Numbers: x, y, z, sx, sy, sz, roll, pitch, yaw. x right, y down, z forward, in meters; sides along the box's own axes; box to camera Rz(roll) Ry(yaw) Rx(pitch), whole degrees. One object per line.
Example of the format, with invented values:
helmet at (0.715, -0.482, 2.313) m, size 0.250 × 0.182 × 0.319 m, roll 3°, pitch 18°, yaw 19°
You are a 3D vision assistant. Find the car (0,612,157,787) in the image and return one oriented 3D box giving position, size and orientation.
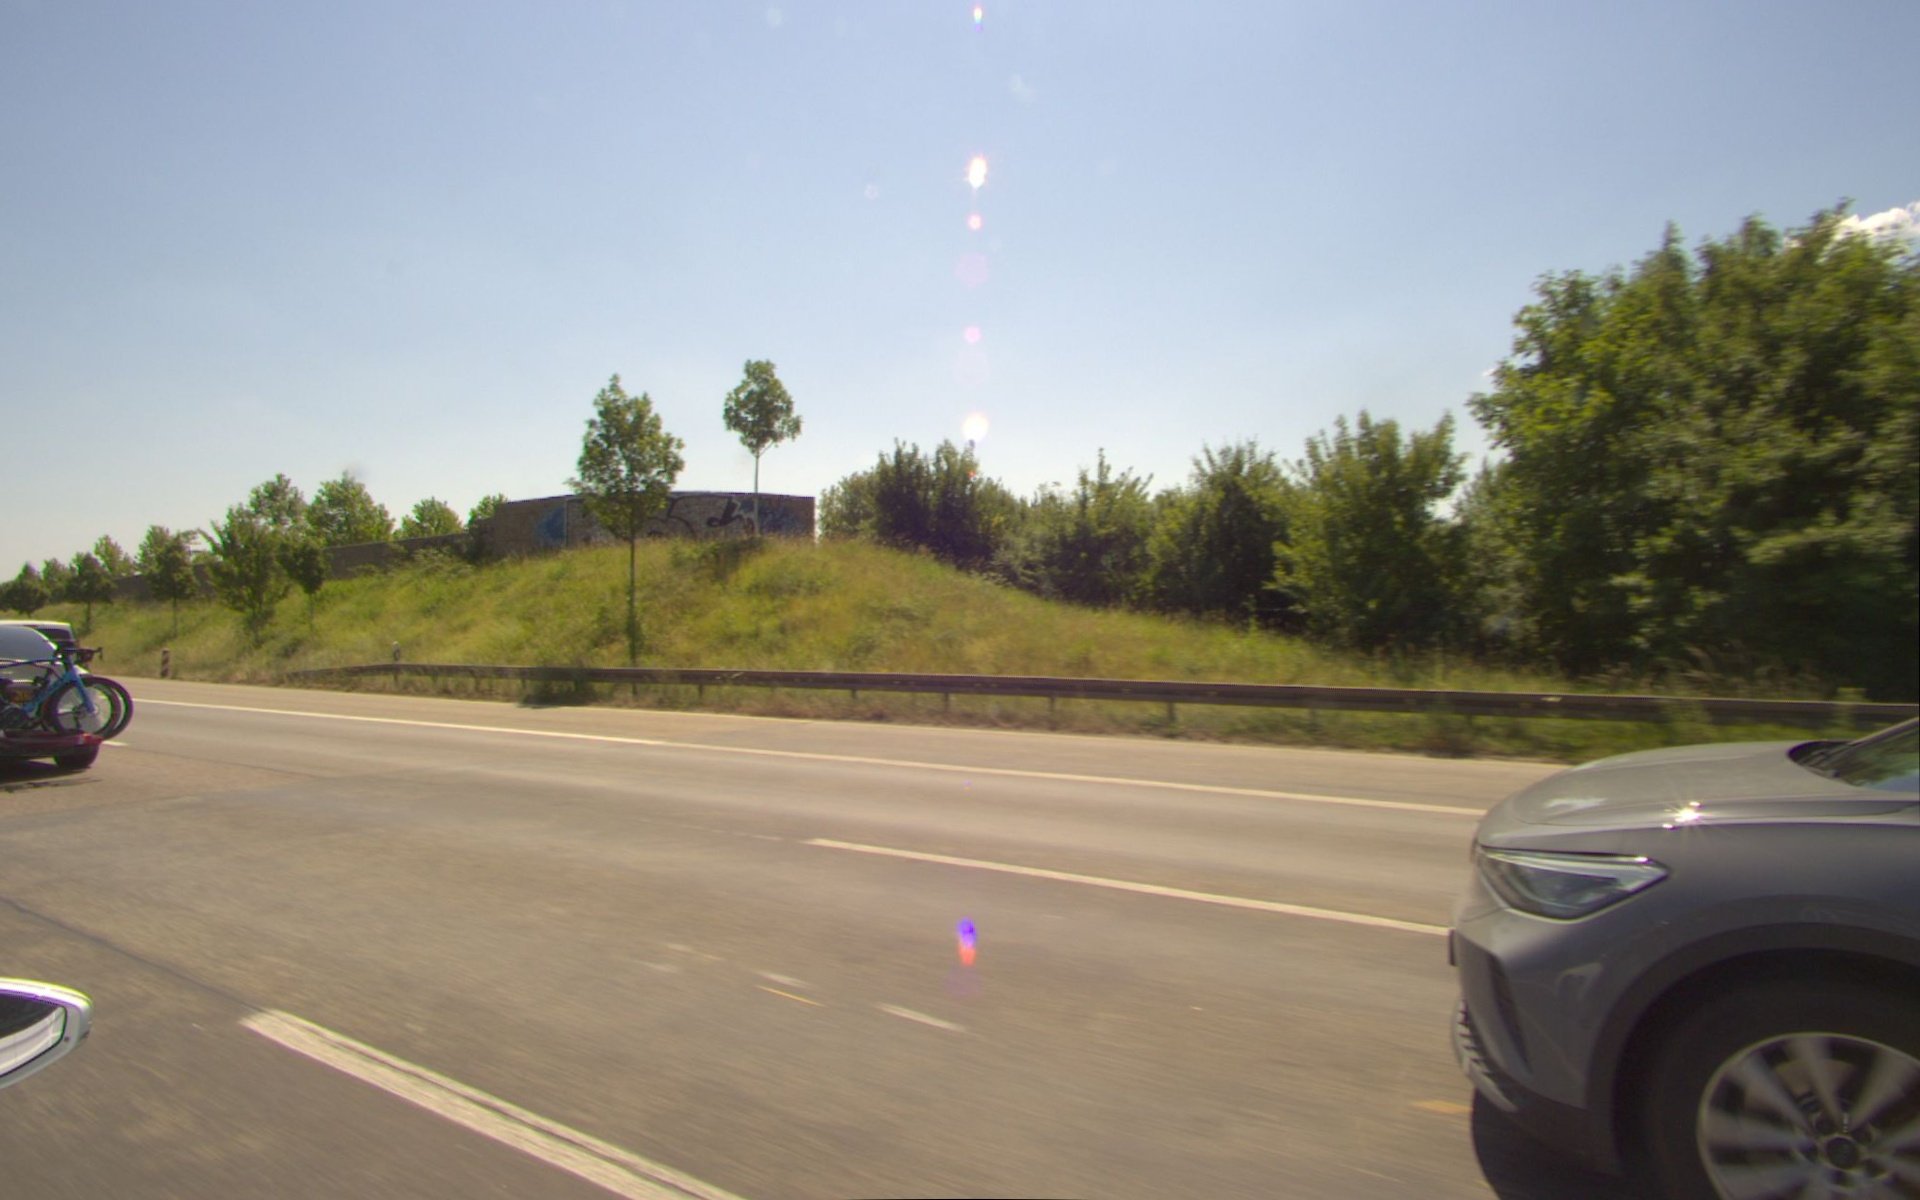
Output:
car at (-11.310, 0.981, 11.192) m, size 5.520 × 1.657 × 1.947 m, roll -1°, pitch -2°, yaw 32°

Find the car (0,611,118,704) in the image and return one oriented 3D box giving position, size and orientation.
car at (-20.775, 1.197, 22.200) m, size 4.116 × 1.862 × 1.948 m, roll -1°, pitch 0°, yaw 30°

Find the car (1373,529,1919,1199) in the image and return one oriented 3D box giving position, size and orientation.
car at (3.455, 0.709, 2.148) m, size 4.520 × 1.657 × 1.865 m, roll -1°, pitch -2°, yaw 32°
